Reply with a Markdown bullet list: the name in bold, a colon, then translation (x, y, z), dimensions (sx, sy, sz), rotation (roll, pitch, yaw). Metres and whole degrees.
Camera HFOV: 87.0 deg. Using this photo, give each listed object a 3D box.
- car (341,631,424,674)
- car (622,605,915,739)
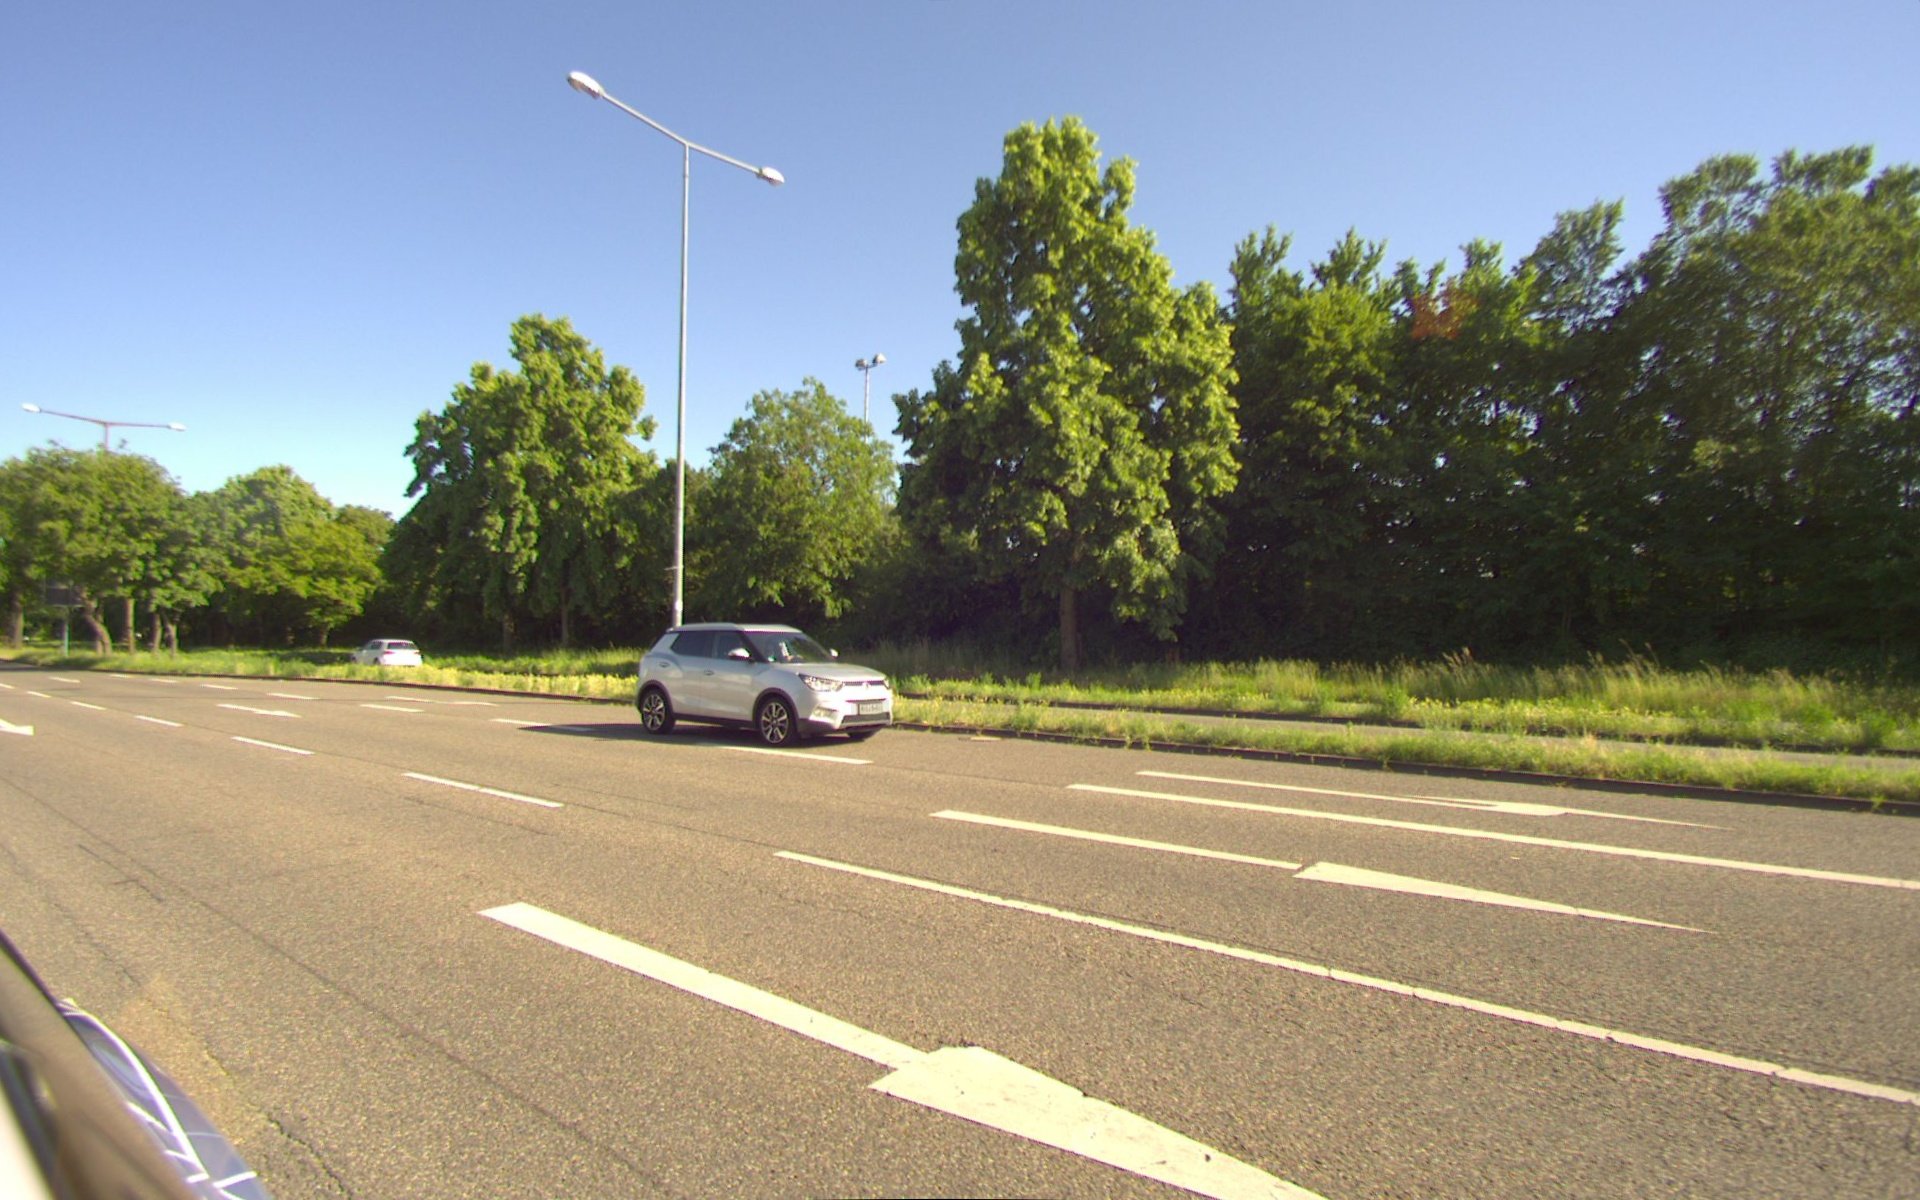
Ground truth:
- **car**: translation (-25.724, 2.308, 45.039), dimensions (4.405, 1.716, 1.892), rotation (-1, 0, 41)
- **car**: translation (-2.767, 0.941, 14.248), dimensions (4.098, 1.622, 1.768), rotation (-1, -3, 37)
